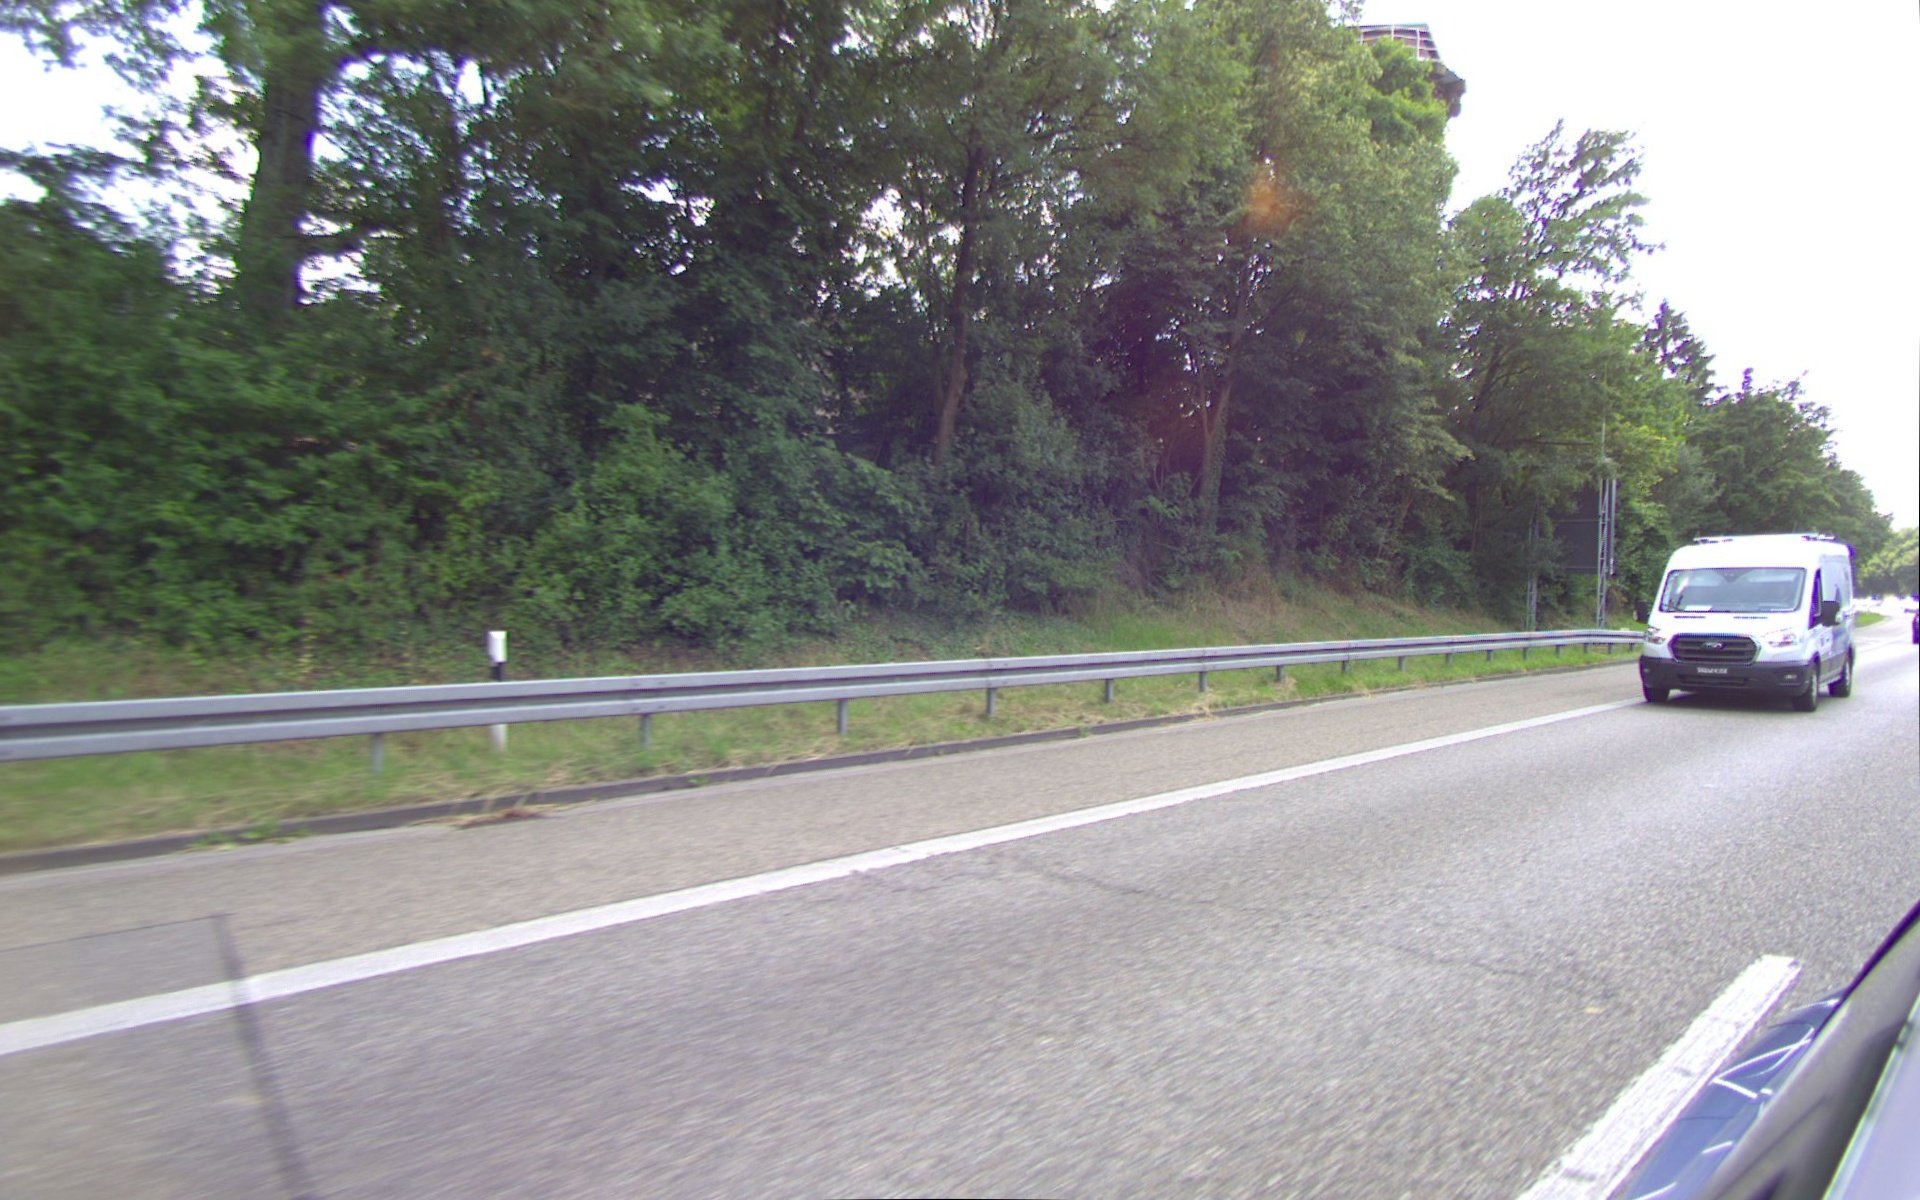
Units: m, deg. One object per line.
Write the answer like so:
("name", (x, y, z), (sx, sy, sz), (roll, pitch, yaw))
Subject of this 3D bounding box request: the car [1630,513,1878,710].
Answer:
("car", (12.323, 0.143, 15.564), (5.188, 2.539, 2.101), (0, 0, -42))

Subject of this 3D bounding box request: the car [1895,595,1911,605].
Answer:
("car", (153.830, 0.018, 165.048), (1.780, 1.540, 3.940), (1, 1, 41))
